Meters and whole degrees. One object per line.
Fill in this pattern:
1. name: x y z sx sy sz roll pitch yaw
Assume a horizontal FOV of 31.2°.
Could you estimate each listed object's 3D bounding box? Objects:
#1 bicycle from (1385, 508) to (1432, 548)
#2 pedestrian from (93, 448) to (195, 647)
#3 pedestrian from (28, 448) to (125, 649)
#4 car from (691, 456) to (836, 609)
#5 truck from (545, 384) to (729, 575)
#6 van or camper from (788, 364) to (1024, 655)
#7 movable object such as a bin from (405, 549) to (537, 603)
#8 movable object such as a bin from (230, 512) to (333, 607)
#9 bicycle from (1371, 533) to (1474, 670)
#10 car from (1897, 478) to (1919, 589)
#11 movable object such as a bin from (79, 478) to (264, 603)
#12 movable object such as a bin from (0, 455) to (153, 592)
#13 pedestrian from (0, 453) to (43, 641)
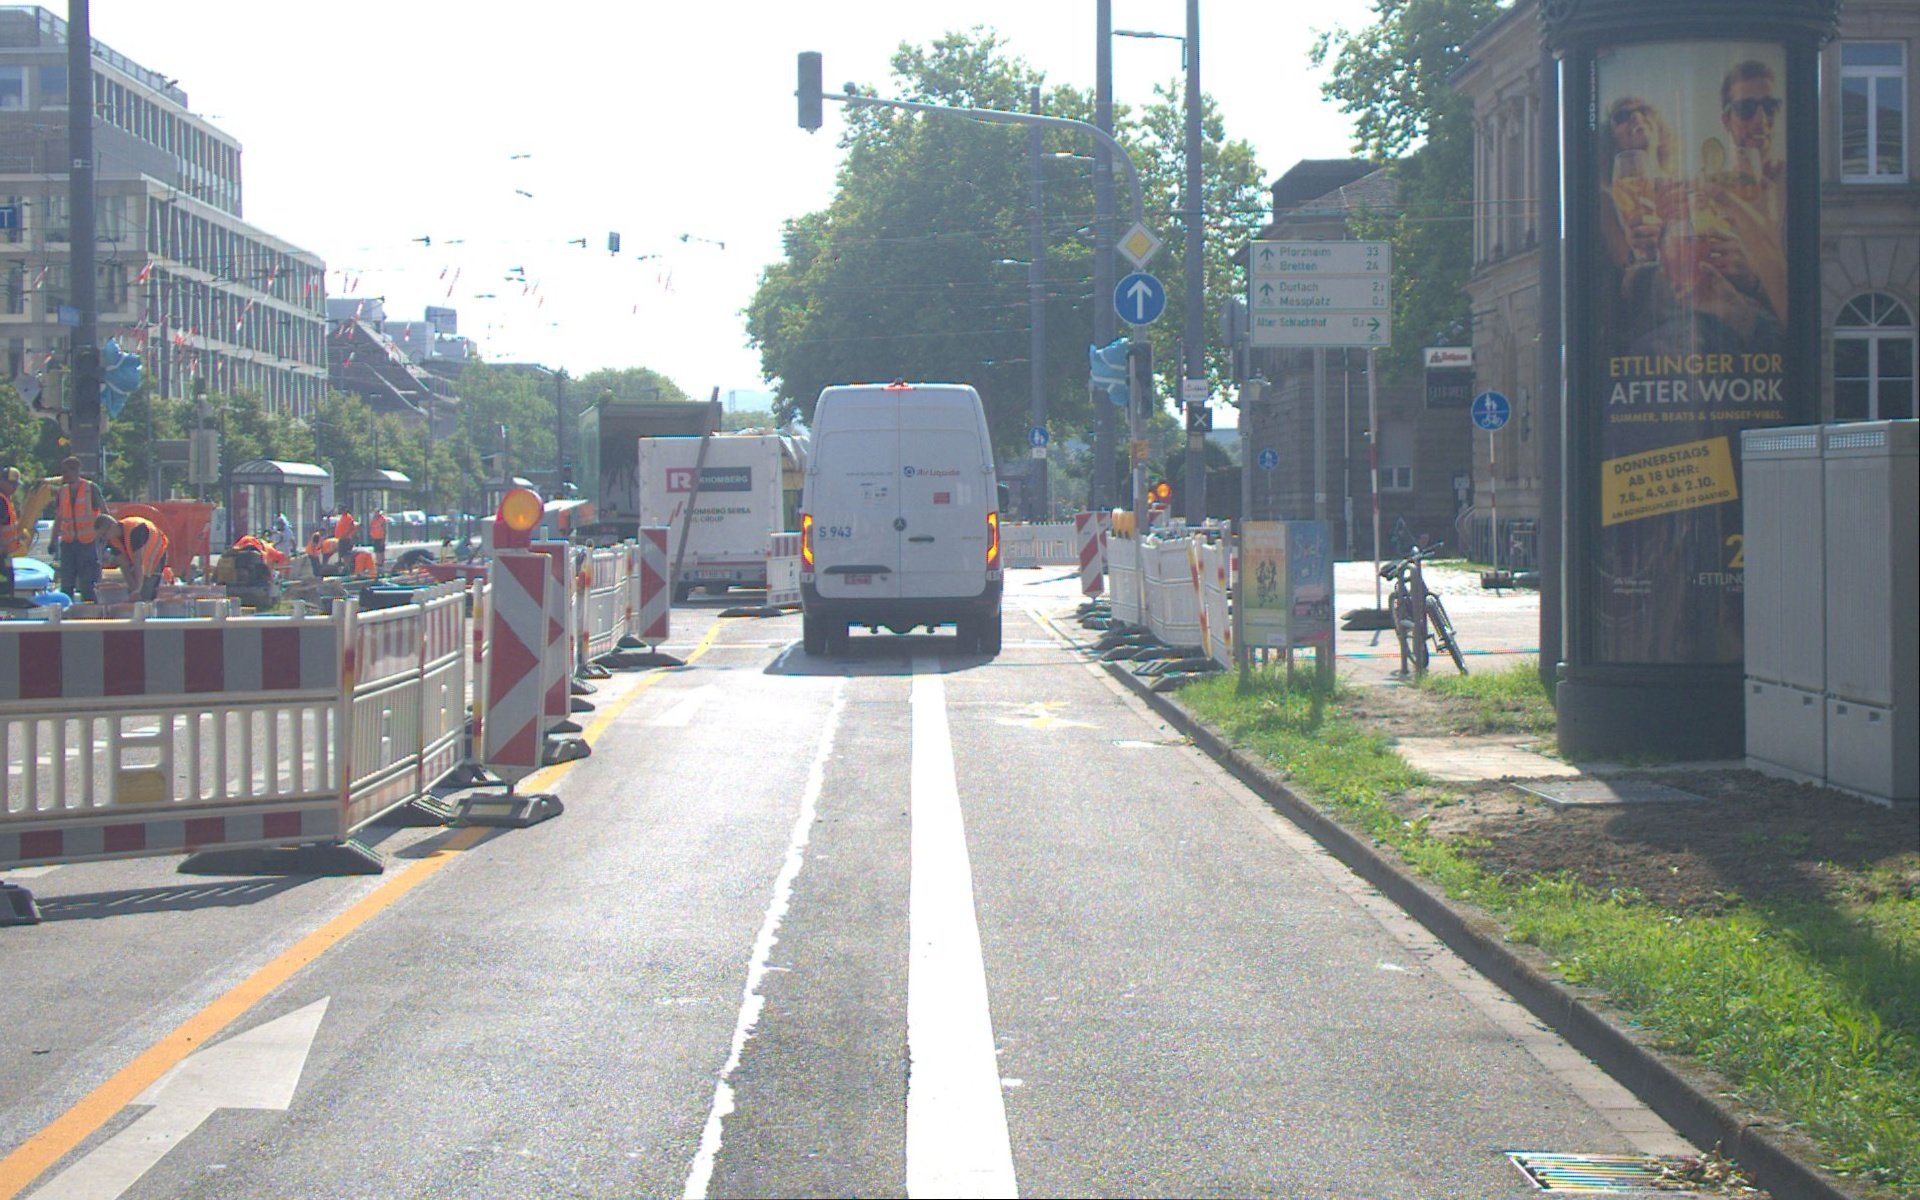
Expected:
1. bicycle: 12.324 -1.983 94.431 0.491 0.996 1.819 -1 4 -20
2. pedestrian: -7.995 -0.521 33.683 0.712 1.920 0.685 -2 1 -38
3. pedestrian: -8.959 -0.530 34.857 0.695 2.008 0.674 -2 1 -38
4. car: -3.253 -1.150 58.277 2.207 2.416 7.200 -1 1 -1
5. truck: -7.170 -2.626 75.203 2.791 3.899 8.422 1 2 -13
6. van or camper: -0.623 -0.950 35.273 2.115 2.672 5.251 -3 2 -2
7. movable object such as a bin: -6.645 -0.325 46.712 1.721 0.711 0.716 0 1 32
8. movable object such as a bin: -8.892 -0.540 45.146 0.887 1.207 2.212 -1 1 0
9. bicycle: 3.575 -0.002 26.648 0.538 1.003 1.571 -2 1 -1
10. car: 15.341 -0.999 48.142 3.999 1.531 1.665 -2 1 5
11. movable object such as a bin: -10.215 -0.784 44.724 1.600 1.553 3.286 -1 1 0
12. movable object such as a bin: -21.117 -1.710 78.346 3.613 2.947 8.477 1 1 -1
13. pedestrian: -9.736 -0.534 34.598 0.719 1.864 0.708 -1 1 8
